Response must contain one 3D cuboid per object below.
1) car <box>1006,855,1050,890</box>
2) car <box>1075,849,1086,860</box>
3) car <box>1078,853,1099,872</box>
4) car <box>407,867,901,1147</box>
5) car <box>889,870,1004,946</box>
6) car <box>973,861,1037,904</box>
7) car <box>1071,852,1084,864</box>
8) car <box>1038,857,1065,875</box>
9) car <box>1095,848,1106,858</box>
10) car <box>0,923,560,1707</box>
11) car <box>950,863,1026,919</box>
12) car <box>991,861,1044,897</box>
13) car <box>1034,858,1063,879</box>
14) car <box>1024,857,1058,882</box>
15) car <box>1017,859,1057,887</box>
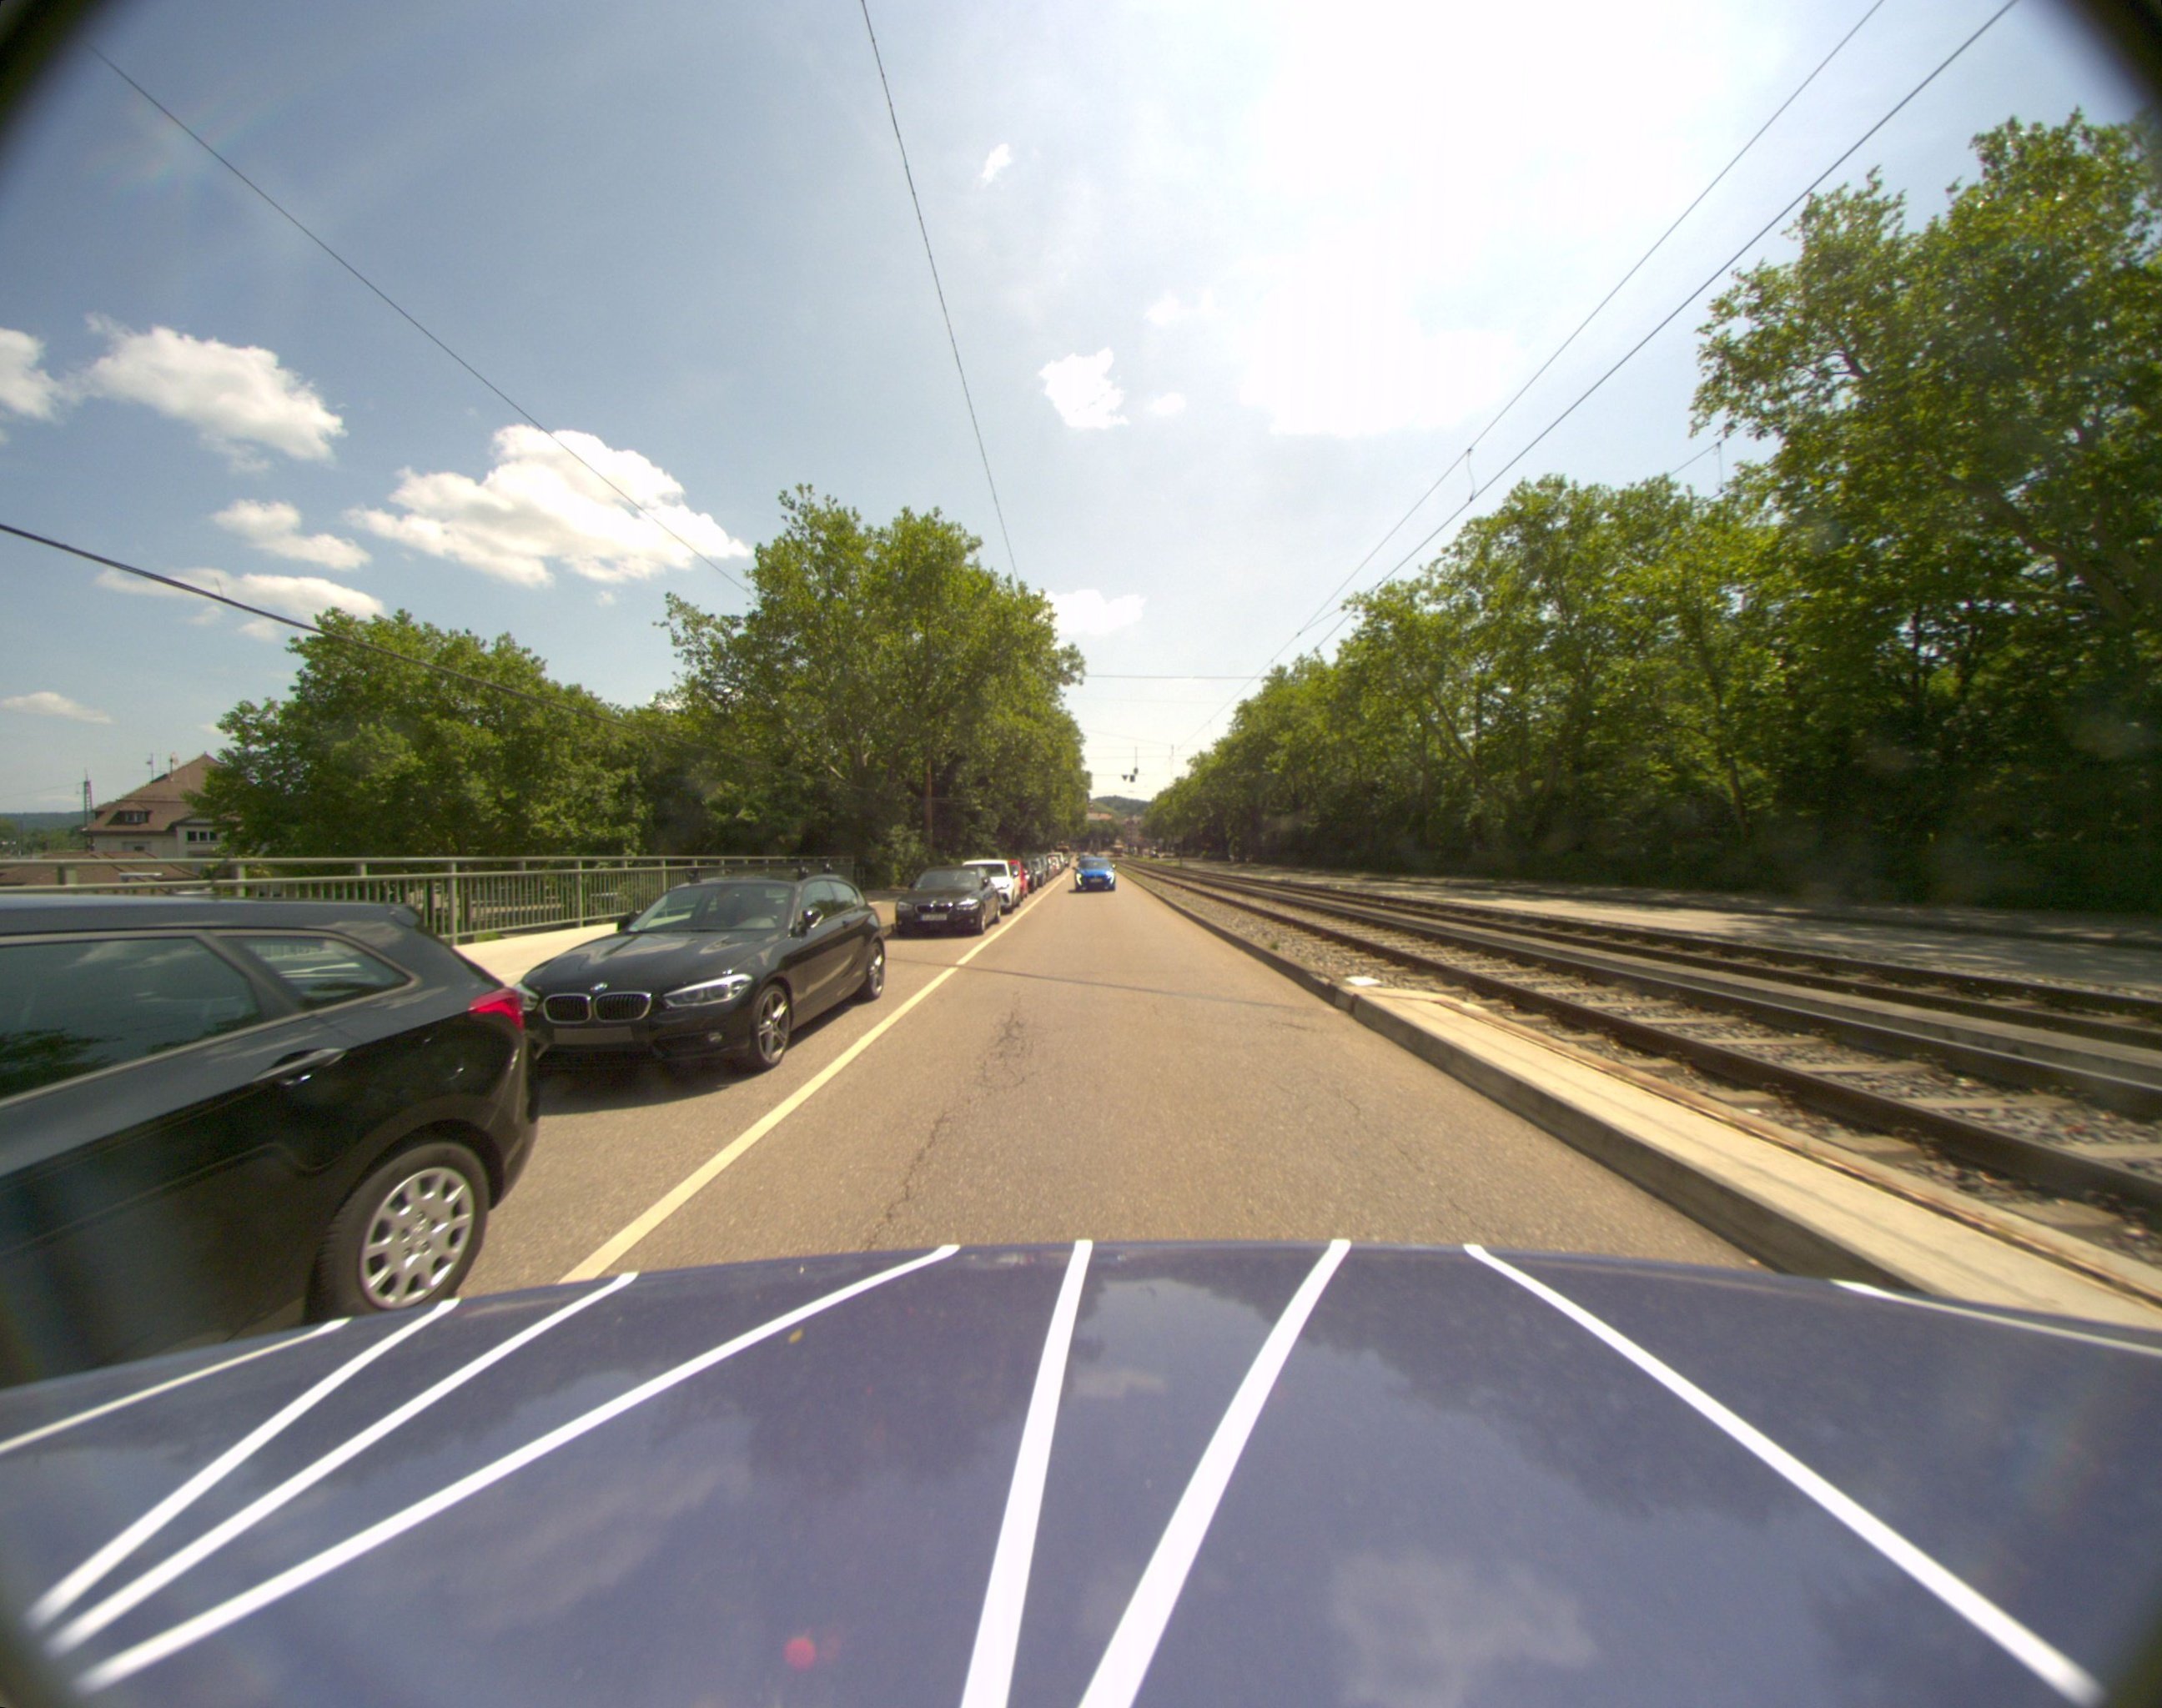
[{"bbox_3d":[-2.665,0.911,39.362,1.798,1.614,4.246,-2,0,2],"label":"car"},{"bbox_3d":[-0.095,0.108,145.978,1.998,2.002,4.000,-2,1,1],"label":"car"},{"bbox_3d":[0.759,0.783,72.906,1.796,1.726,3.768,-3,0,3],"label":"car"},{"bbox_3d":[-3.077,0.969,6.671,1.829,1.549,4.159,-2,0,2],"label":"car"},{"bbox_3d":[-2.762,1.071,16.404,1.759,1.382,3.699,0,0,1],"label":"car"},{"bbox_3d":[-2.779,1.012,28.711,1.829,1.422,4.246,-2,0,2],"label":"car"},{"bbox_3d":[-0.566,0.645,133.588,1.998,2.002,4.000,-2,1,2],"label":"car"},{"bbox_3d":[-2.387,0.965,62.220,1.829,1.401,4.246,-2,0,2],"label":"car"},{"bbox_3d":[4.026,-0.272,157.069,1.998,2.002,4.000,-2,1,1],"label":"car"},{"bbox_3d":[-3.030,1.030,0.974,1.639,1.445,4.388,-2,0,0],"label":"car"},{"bbox_3d":[-2.632,1.010,22.342,1.683,1.423,4.159,-1,0,1],"label":"car"},{"bbox_3d":[-2.768,1.079,34.072,1.829,1.422,4.246,-2,0,2],"label":"car"},{"bbox_3d":[-2.416,1.041,57.030,1.829,1.422,4.246,-2,0,2],"label":"car"},{"bbox_3d":[-2.544,0.977,49.368,1.829,1.422,4.246,-2,0,2],"label":"car"},{"bbox_3d":[-2.474,1.050,43.938,1.829,1.422,4.246,-4,0,2],"label":"car"}]
